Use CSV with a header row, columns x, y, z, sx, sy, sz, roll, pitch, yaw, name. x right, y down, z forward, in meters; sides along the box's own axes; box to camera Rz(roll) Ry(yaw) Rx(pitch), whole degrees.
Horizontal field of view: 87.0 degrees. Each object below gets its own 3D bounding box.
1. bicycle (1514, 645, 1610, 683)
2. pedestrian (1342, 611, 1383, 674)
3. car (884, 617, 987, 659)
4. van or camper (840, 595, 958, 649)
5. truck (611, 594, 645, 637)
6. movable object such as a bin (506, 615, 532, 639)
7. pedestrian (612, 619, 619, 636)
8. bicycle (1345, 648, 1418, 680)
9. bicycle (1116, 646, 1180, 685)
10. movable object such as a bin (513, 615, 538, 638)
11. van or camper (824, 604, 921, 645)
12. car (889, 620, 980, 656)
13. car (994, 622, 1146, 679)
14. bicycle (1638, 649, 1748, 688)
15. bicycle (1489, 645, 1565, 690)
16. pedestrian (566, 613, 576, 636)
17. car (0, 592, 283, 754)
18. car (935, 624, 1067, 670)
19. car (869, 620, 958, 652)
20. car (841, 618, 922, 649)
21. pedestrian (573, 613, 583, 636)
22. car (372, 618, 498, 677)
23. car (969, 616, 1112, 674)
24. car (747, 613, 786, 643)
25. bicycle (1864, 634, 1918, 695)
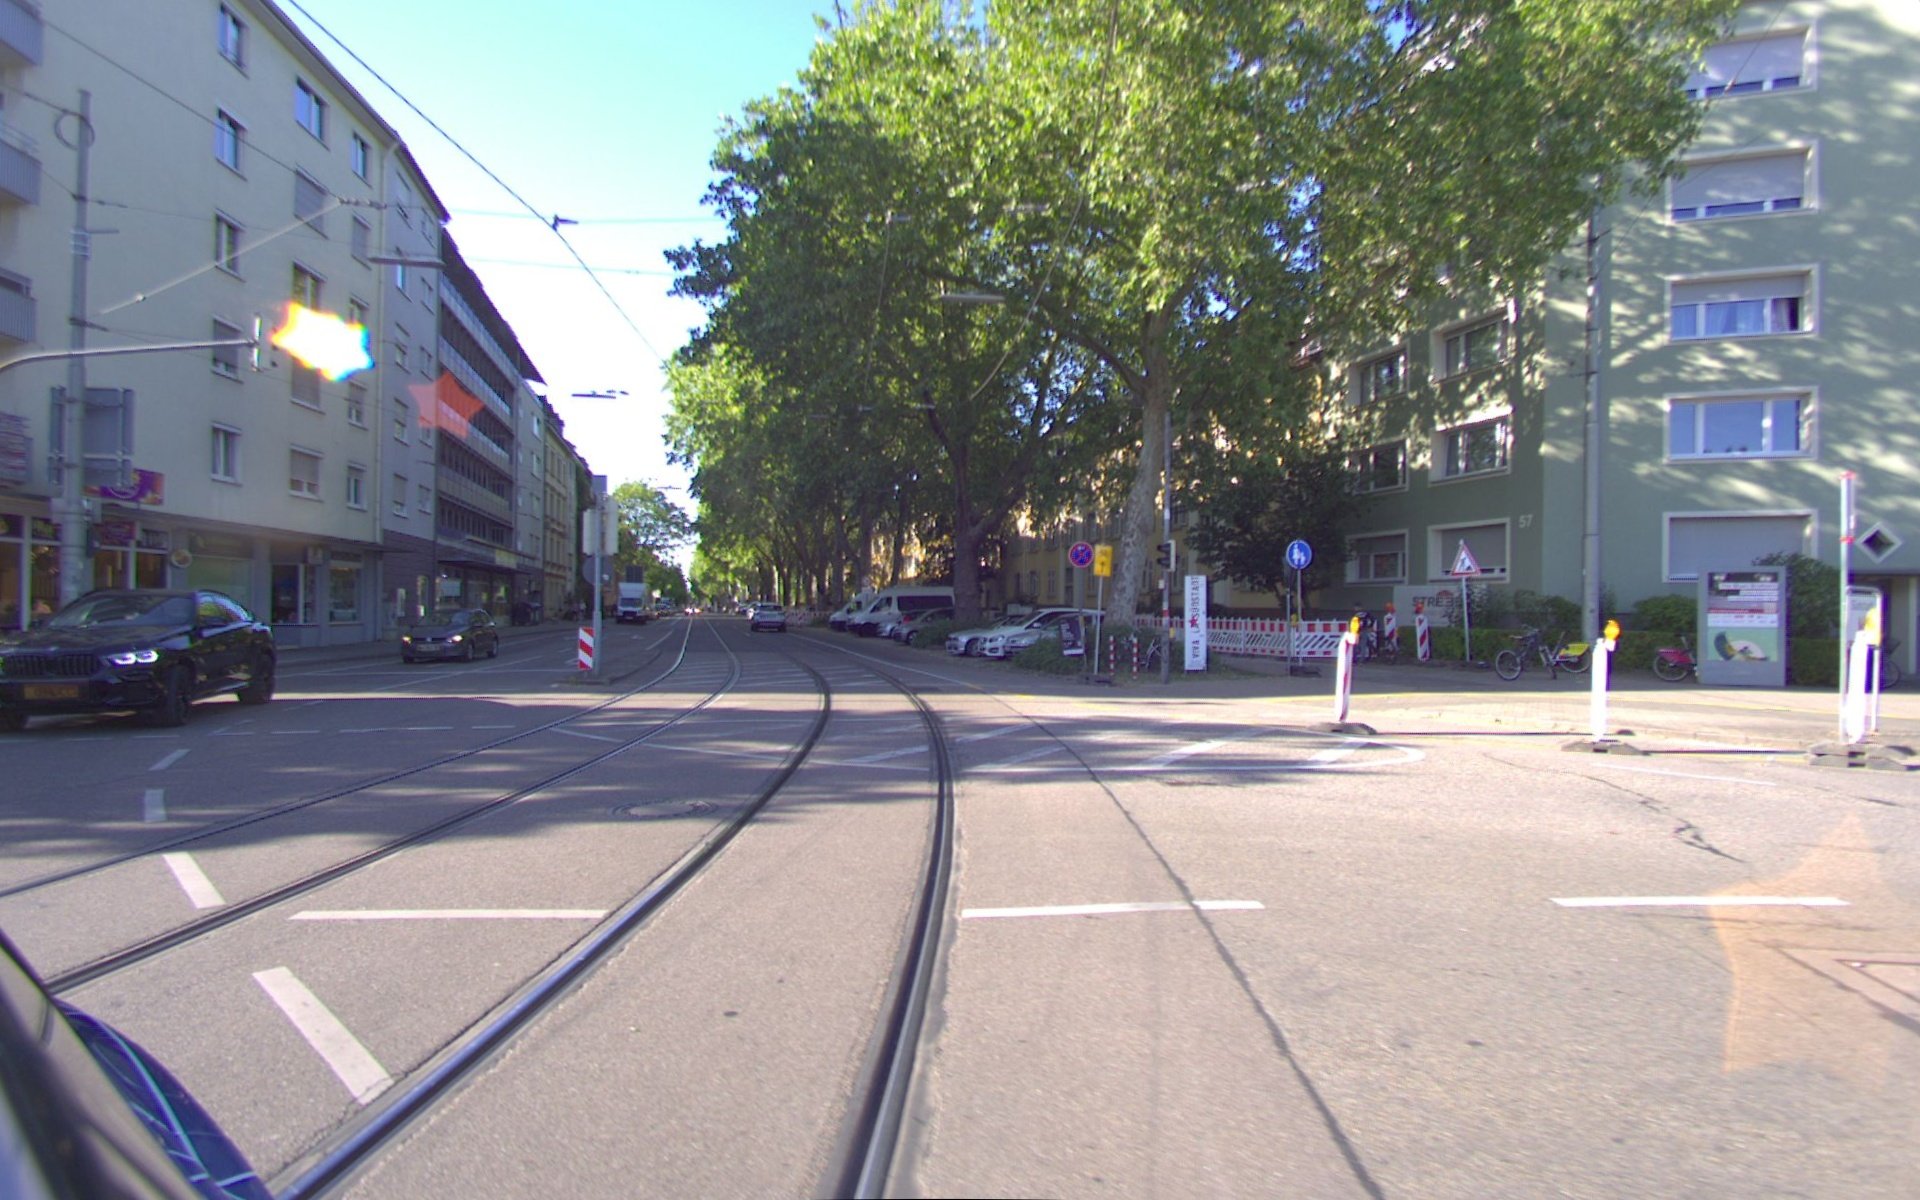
x,y,z,sx,sy,sz,roll,pitch,yaw,name
13.229,1.396,22.283,1.777,0.765,0.354,-1,-2,37,bicycle
10.228,1.064,25.722,0.592,1.580,0.744,1,-2,-38,pedestrian
-1.063,1.559,42.509,4.017,1.631,1.849,-1,0,-11,car
-3.231,1.106,52.945,5.837,2.668,2.161,-1,0,-12,van or camper
-25.252,1.148,77.065,2.305,3.137,5.228,-1,0,-17,truck
-26.759,1.626,61.459,1.185,1.421,1.375,1,-1,-12,movable object such as a bin
-30.914,2.470,90.766,0.532,1.456,0.632,1,-1,-12,pedestrian
10.779,1.626,25.914,0.352,0.765,1.784,1,-2,-38,bicycle
4.421,1.527,23.787,1.546,0.895,0.359,1,-2,-23,bicycle
-27.220,1.639,63.411,1.185,1.421,1.375,1,-1,-12,movable object such as a bin
-5.416,1.462,62.115,5.672,2.403,2.161,-1,0,-12,van or camper
-1.161,1.663,45.181,3.801,1.457,1.697,-1,0,-11,car
3.112,1.401,28.840,3.931,1.428,1.709,-1,0,-17,car
14.872,1.381,20.561,1.767,0.765,0.356,0,-2,20,bicycle
11.715,1.385,20.904,1.749,0.895,0.359,1,-2,-23,bicycle
-28.945,1.841,75.338,0.532,1.735,0.632,1,-1,-12,pedestrian
-10.825,0.836,13.441,1.898,1.766,4.698,2,-1,-20,car
1.326,1.526,33.694,4.017,1.379,1.849,-1,0,-11,car
-2.340,1.792,50.323,4.209,1.457,1.697,-1,0,-11,car
-4.601,1.923,58.984,4.469,1.645,1.697,-1,0,-11,car
-27.820,1.792,73.671,0.532,1.685,0.632,1,-1,-12,pedestrian
-14.069,1.224,27.364,1.901,1.416,3.948,-1,0,-10,car
2.442,1.350,31.161,4.017,1.624,1.849,-1,0,-11,car
-11.179,1.617,58.403,1.966,1.644,4.643,1,-2,-14,car
19.600,1.335,21.331,0.356,1.215,1.500,-1,-2,24,bicycle
